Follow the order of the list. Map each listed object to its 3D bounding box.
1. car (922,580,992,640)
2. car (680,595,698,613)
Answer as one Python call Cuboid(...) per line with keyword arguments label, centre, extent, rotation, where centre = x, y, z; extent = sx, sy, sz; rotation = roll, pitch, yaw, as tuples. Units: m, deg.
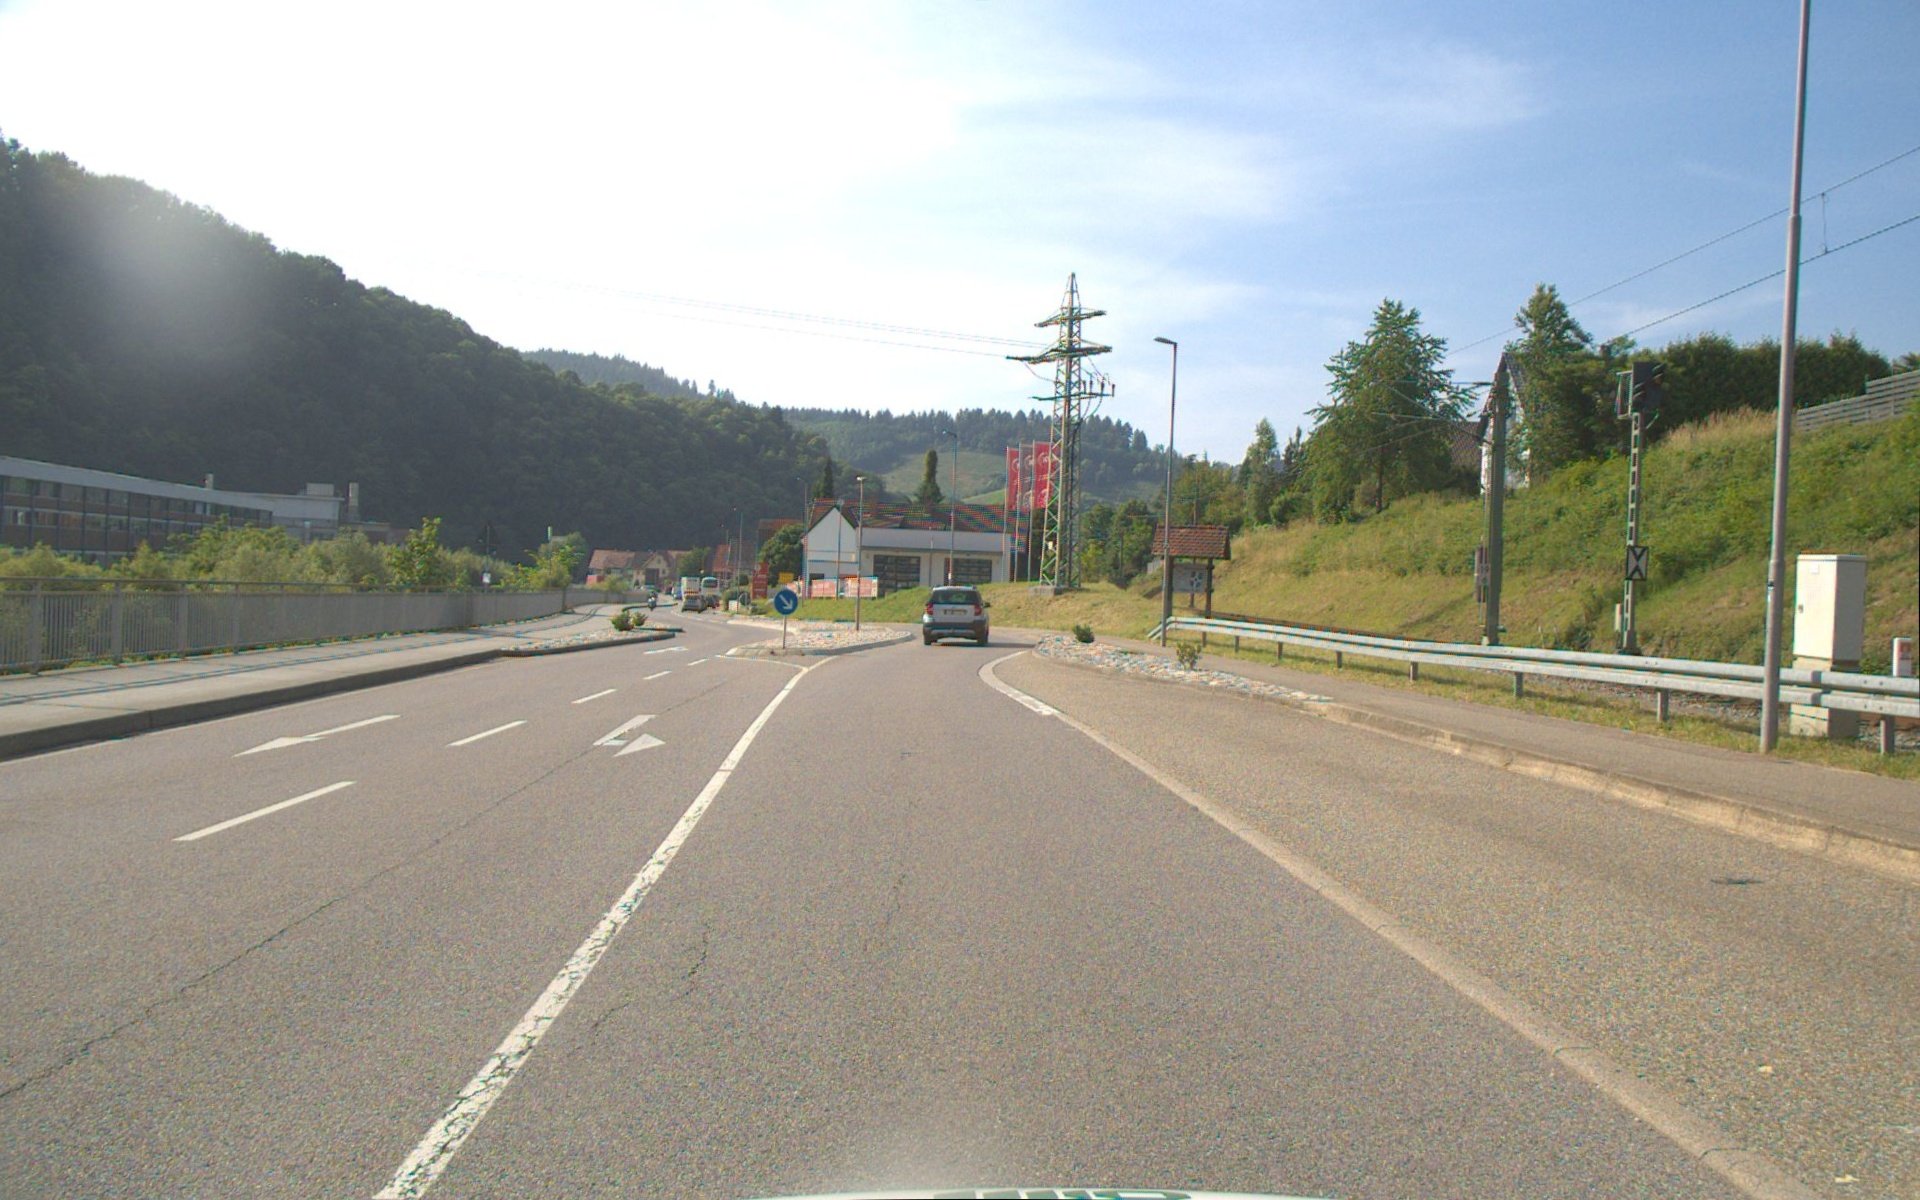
Cuboid(label="car", centre=(-0.134, 0.296, 47.802), extent=(1.823, 1.571, 4.371), rotation=(2, -1, -2))
Cuboid(label="car", centre=(-23.197, 0.346, 141.388), extent=(1.427, 1.460, 2.929), rotation=(2, 1, -10))
